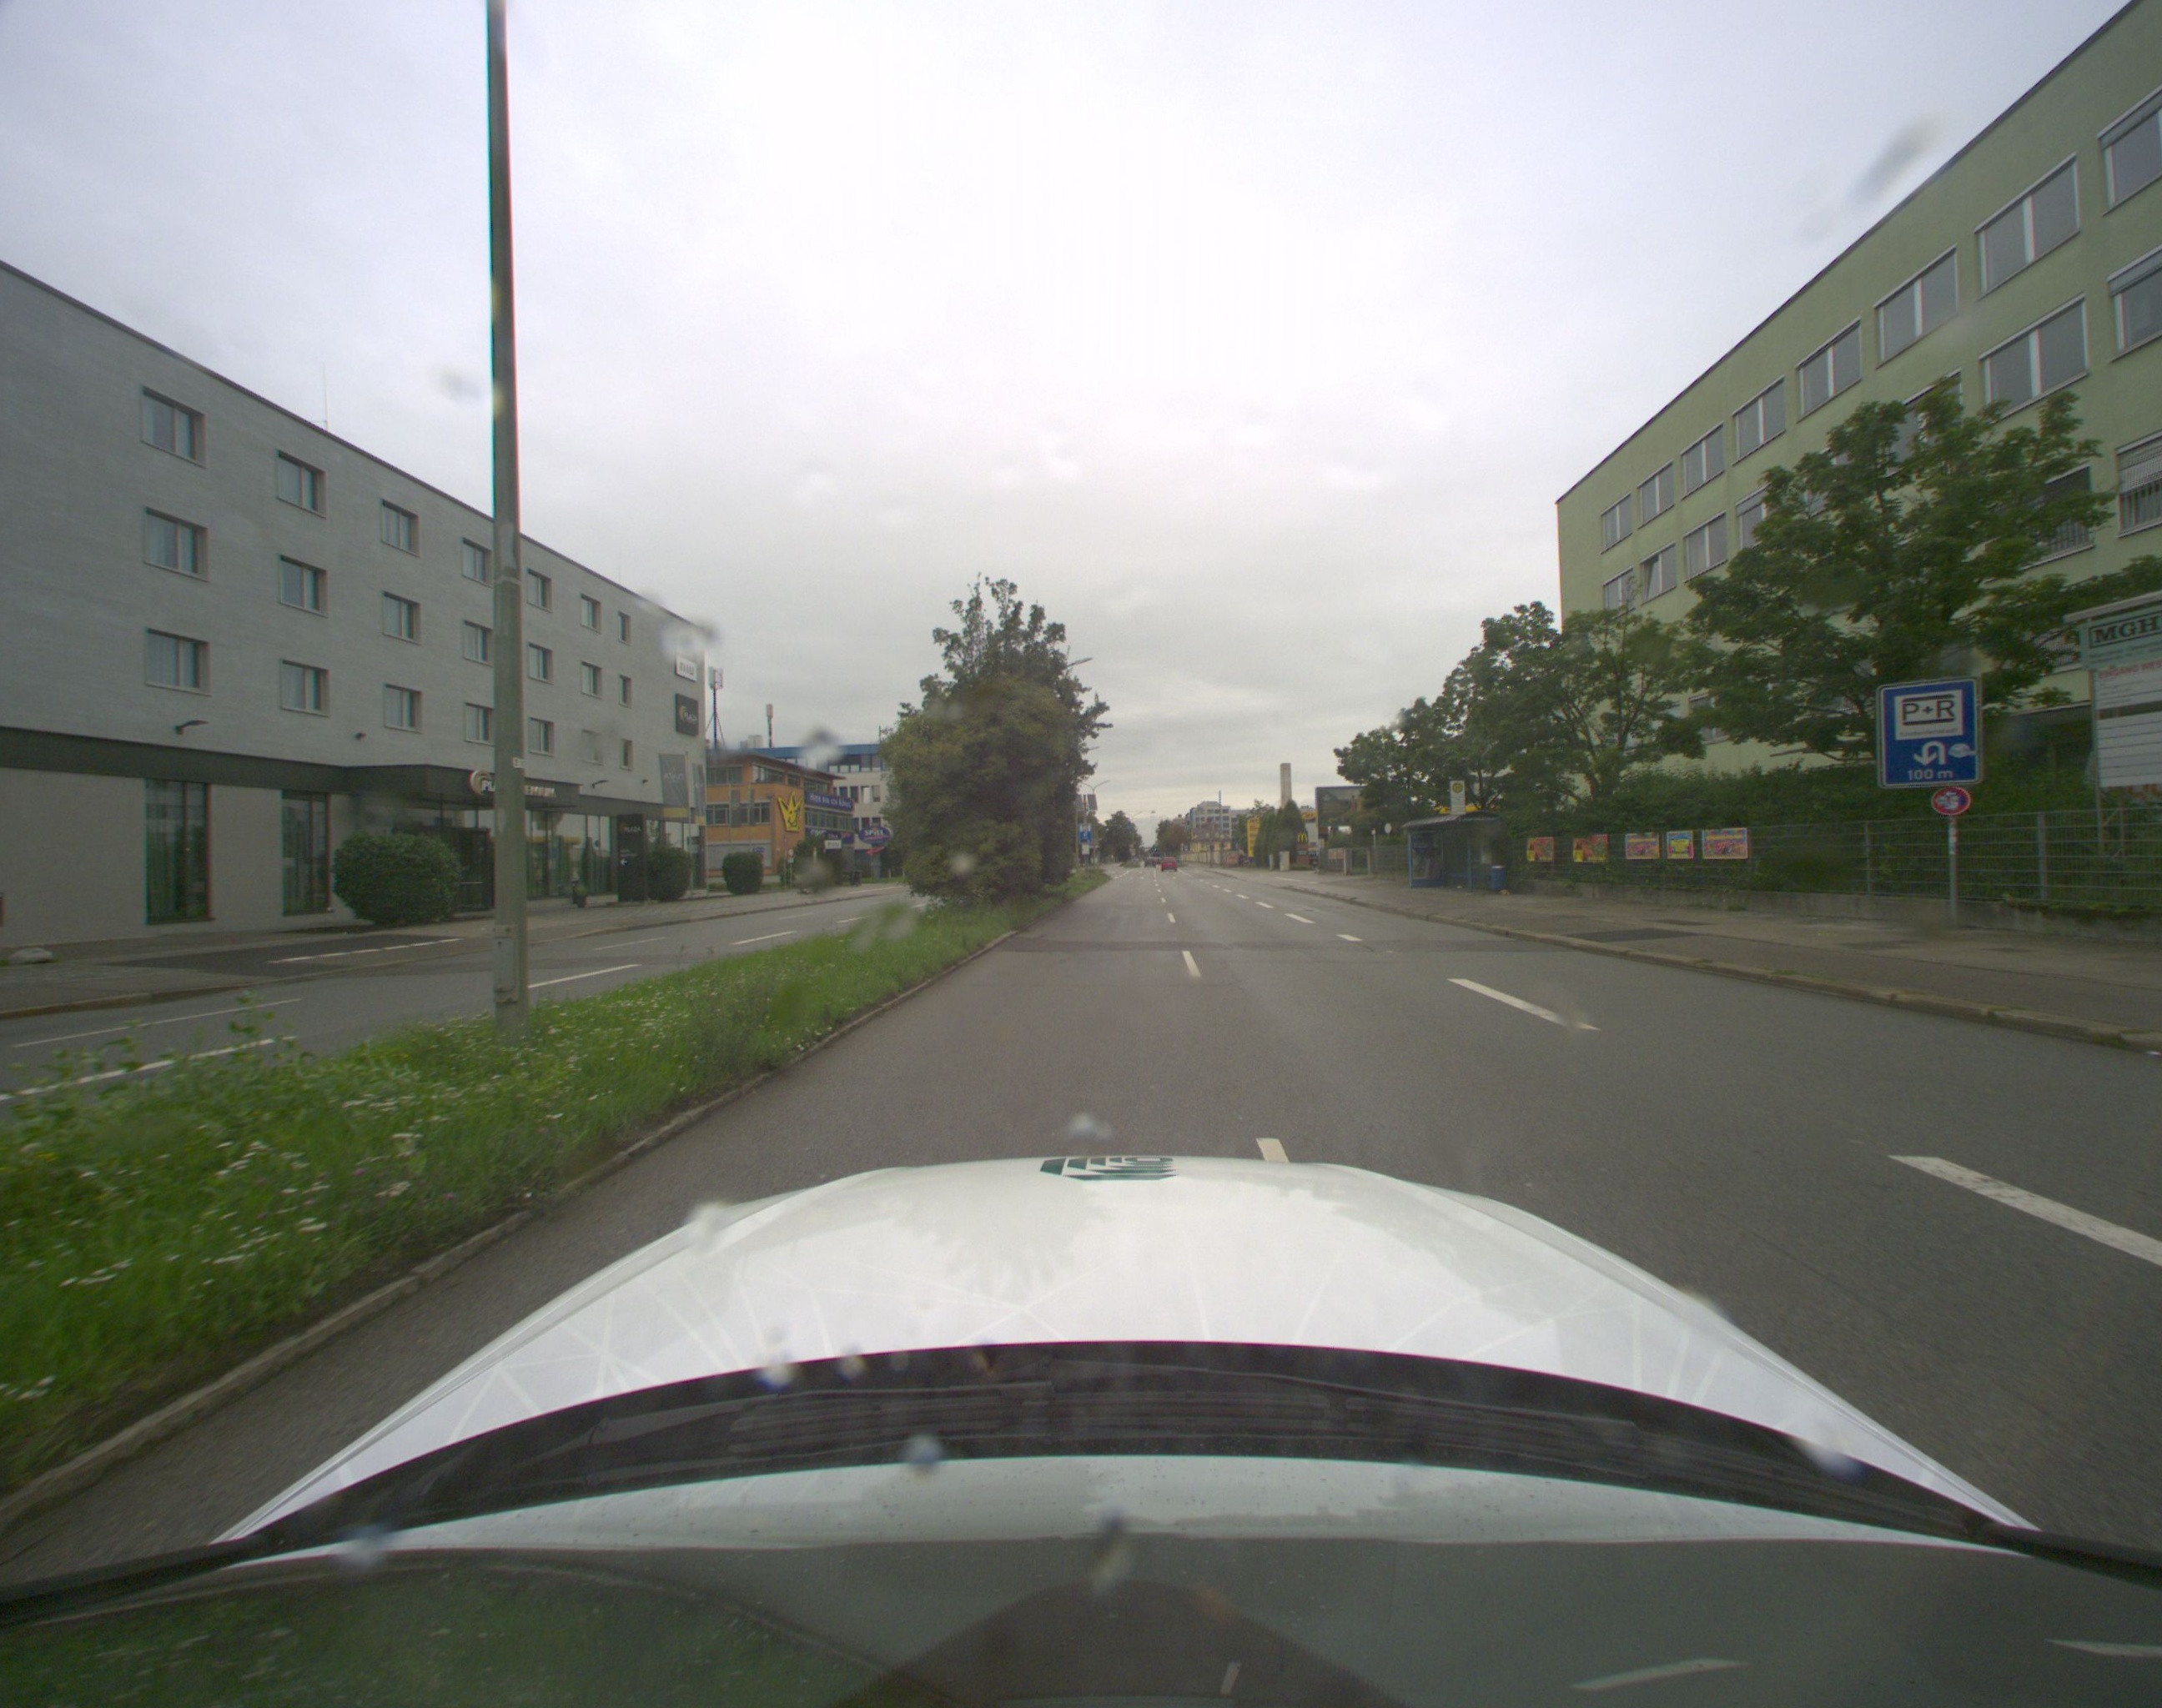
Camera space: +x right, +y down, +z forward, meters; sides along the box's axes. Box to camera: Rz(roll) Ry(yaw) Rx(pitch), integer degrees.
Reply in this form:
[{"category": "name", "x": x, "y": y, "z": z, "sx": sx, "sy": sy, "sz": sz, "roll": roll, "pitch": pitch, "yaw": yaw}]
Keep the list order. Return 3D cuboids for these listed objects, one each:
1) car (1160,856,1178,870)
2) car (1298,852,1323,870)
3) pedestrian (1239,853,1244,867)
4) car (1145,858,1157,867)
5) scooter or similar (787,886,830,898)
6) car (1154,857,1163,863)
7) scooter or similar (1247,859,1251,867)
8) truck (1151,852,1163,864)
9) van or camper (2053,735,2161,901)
[{"category": "car", "x": 10.096, "y": 1.058, "z": 93.786, "sx": 1.854, "sy": 1.618, "sz": 4.004, "roll": -1, "pitch": -1, "yaw": 4}, {"category": "car", "x": 23.133, "y": 0.695, "z": 82.183, "sx": 1.745, "sy": 1.794, "sz": 4.007, "roll": -2, "pitch": 0, "yaw": 6}, {"category": "pedestrian", "x": 18.526, "y": 0.658, "z": 94.012, "sx": 0.481, "sy": 1.636, "sz": 0.592, "roll": -2, "pitch": -1, "yaw": 8}, {"category": "car", "x": 11.751, "y": 1.355, "z": 136.175, "sx": 1.796, "sy": 1.432, "sz": 4.003, "roll": -2, "pitch": 0, "yaw": 3}, {"category": "scooter or similar", "x": -14.699, "y": 2.050, "z": 44.034, "sx": 1.462, "sy": 0.585, "sz": 2.321, "roll": -2, "pitch": -3, "yaw": 2}, {"category": "car", "x": 17.918, "y": 1.355, "z": 187.988, "sx": 1.796, "sy": 1.433, "sz": 4.003, "roll": -1, "pitch": -1, "yaw": 3}, {"category": "scooter or similar", "x": 19.483, "y": 1.042, "z": 94.427, "sx": 0.173, "sy": 0.823, "sz": 0.783, "roll": -2, "pitch": -1, "yaw": 27}, {"category": "truck", "x": 20.786, "y": 1.038, "z": 222.642, "sx": 2.957, "sy": 3.285, "sz": 7.920, "roll": -2, "pitch": -1, "yaw": 3}, {"category": "van or camper", "x": 16.993, "y": -0.565, "z": 10.046, "sx": 2.112, "sy": 2.497, "sz": 7.408, "roll": -2, "pitch": 0, "yaw": 10}]
